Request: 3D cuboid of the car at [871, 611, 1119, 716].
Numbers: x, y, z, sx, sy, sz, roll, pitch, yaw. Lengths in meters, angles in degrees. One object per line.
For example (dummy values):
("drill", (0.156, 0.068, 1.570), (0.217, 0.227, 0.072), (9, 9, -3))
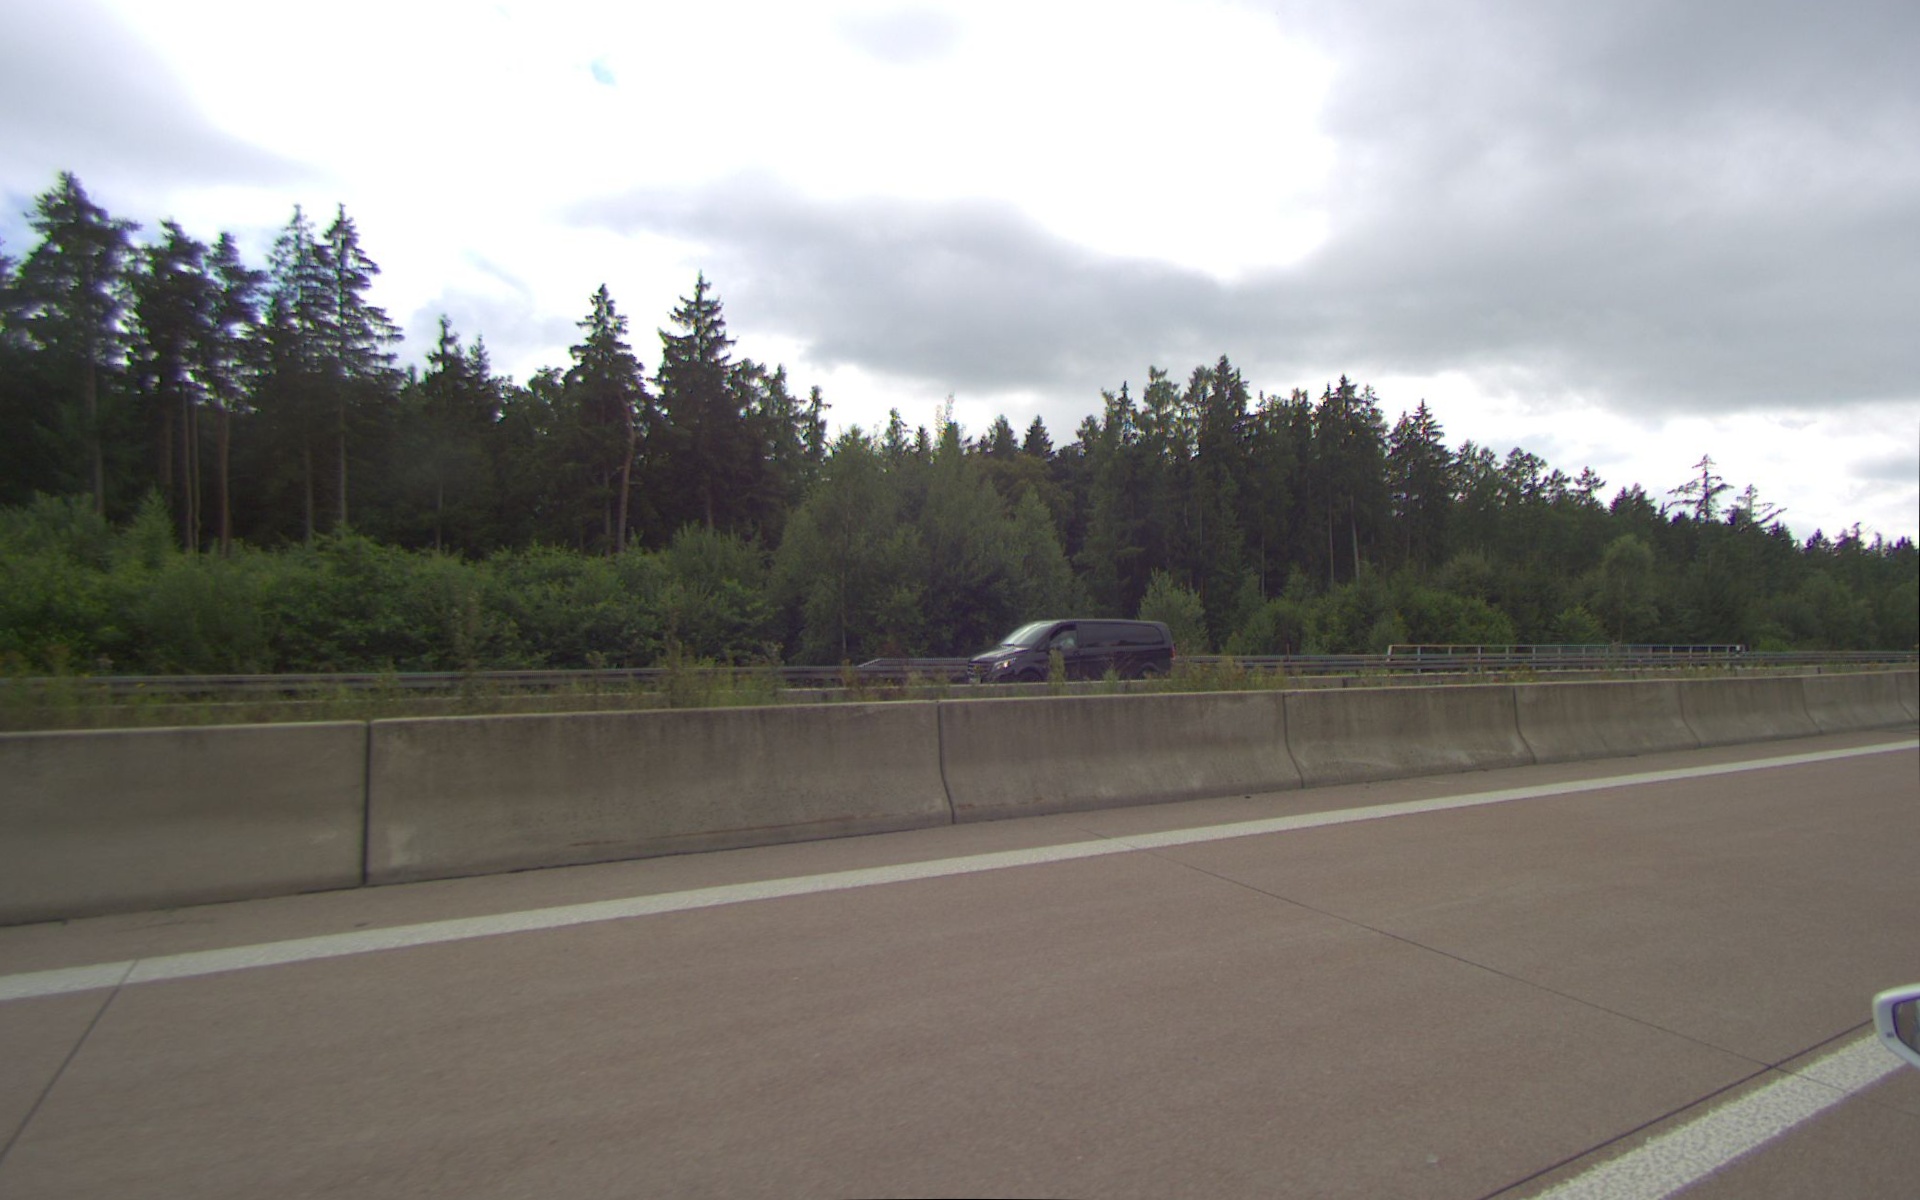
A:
("car", (0.828, 1.381, 22.915), (5.203, 2.041, 2.245), (2, 2, -29))
